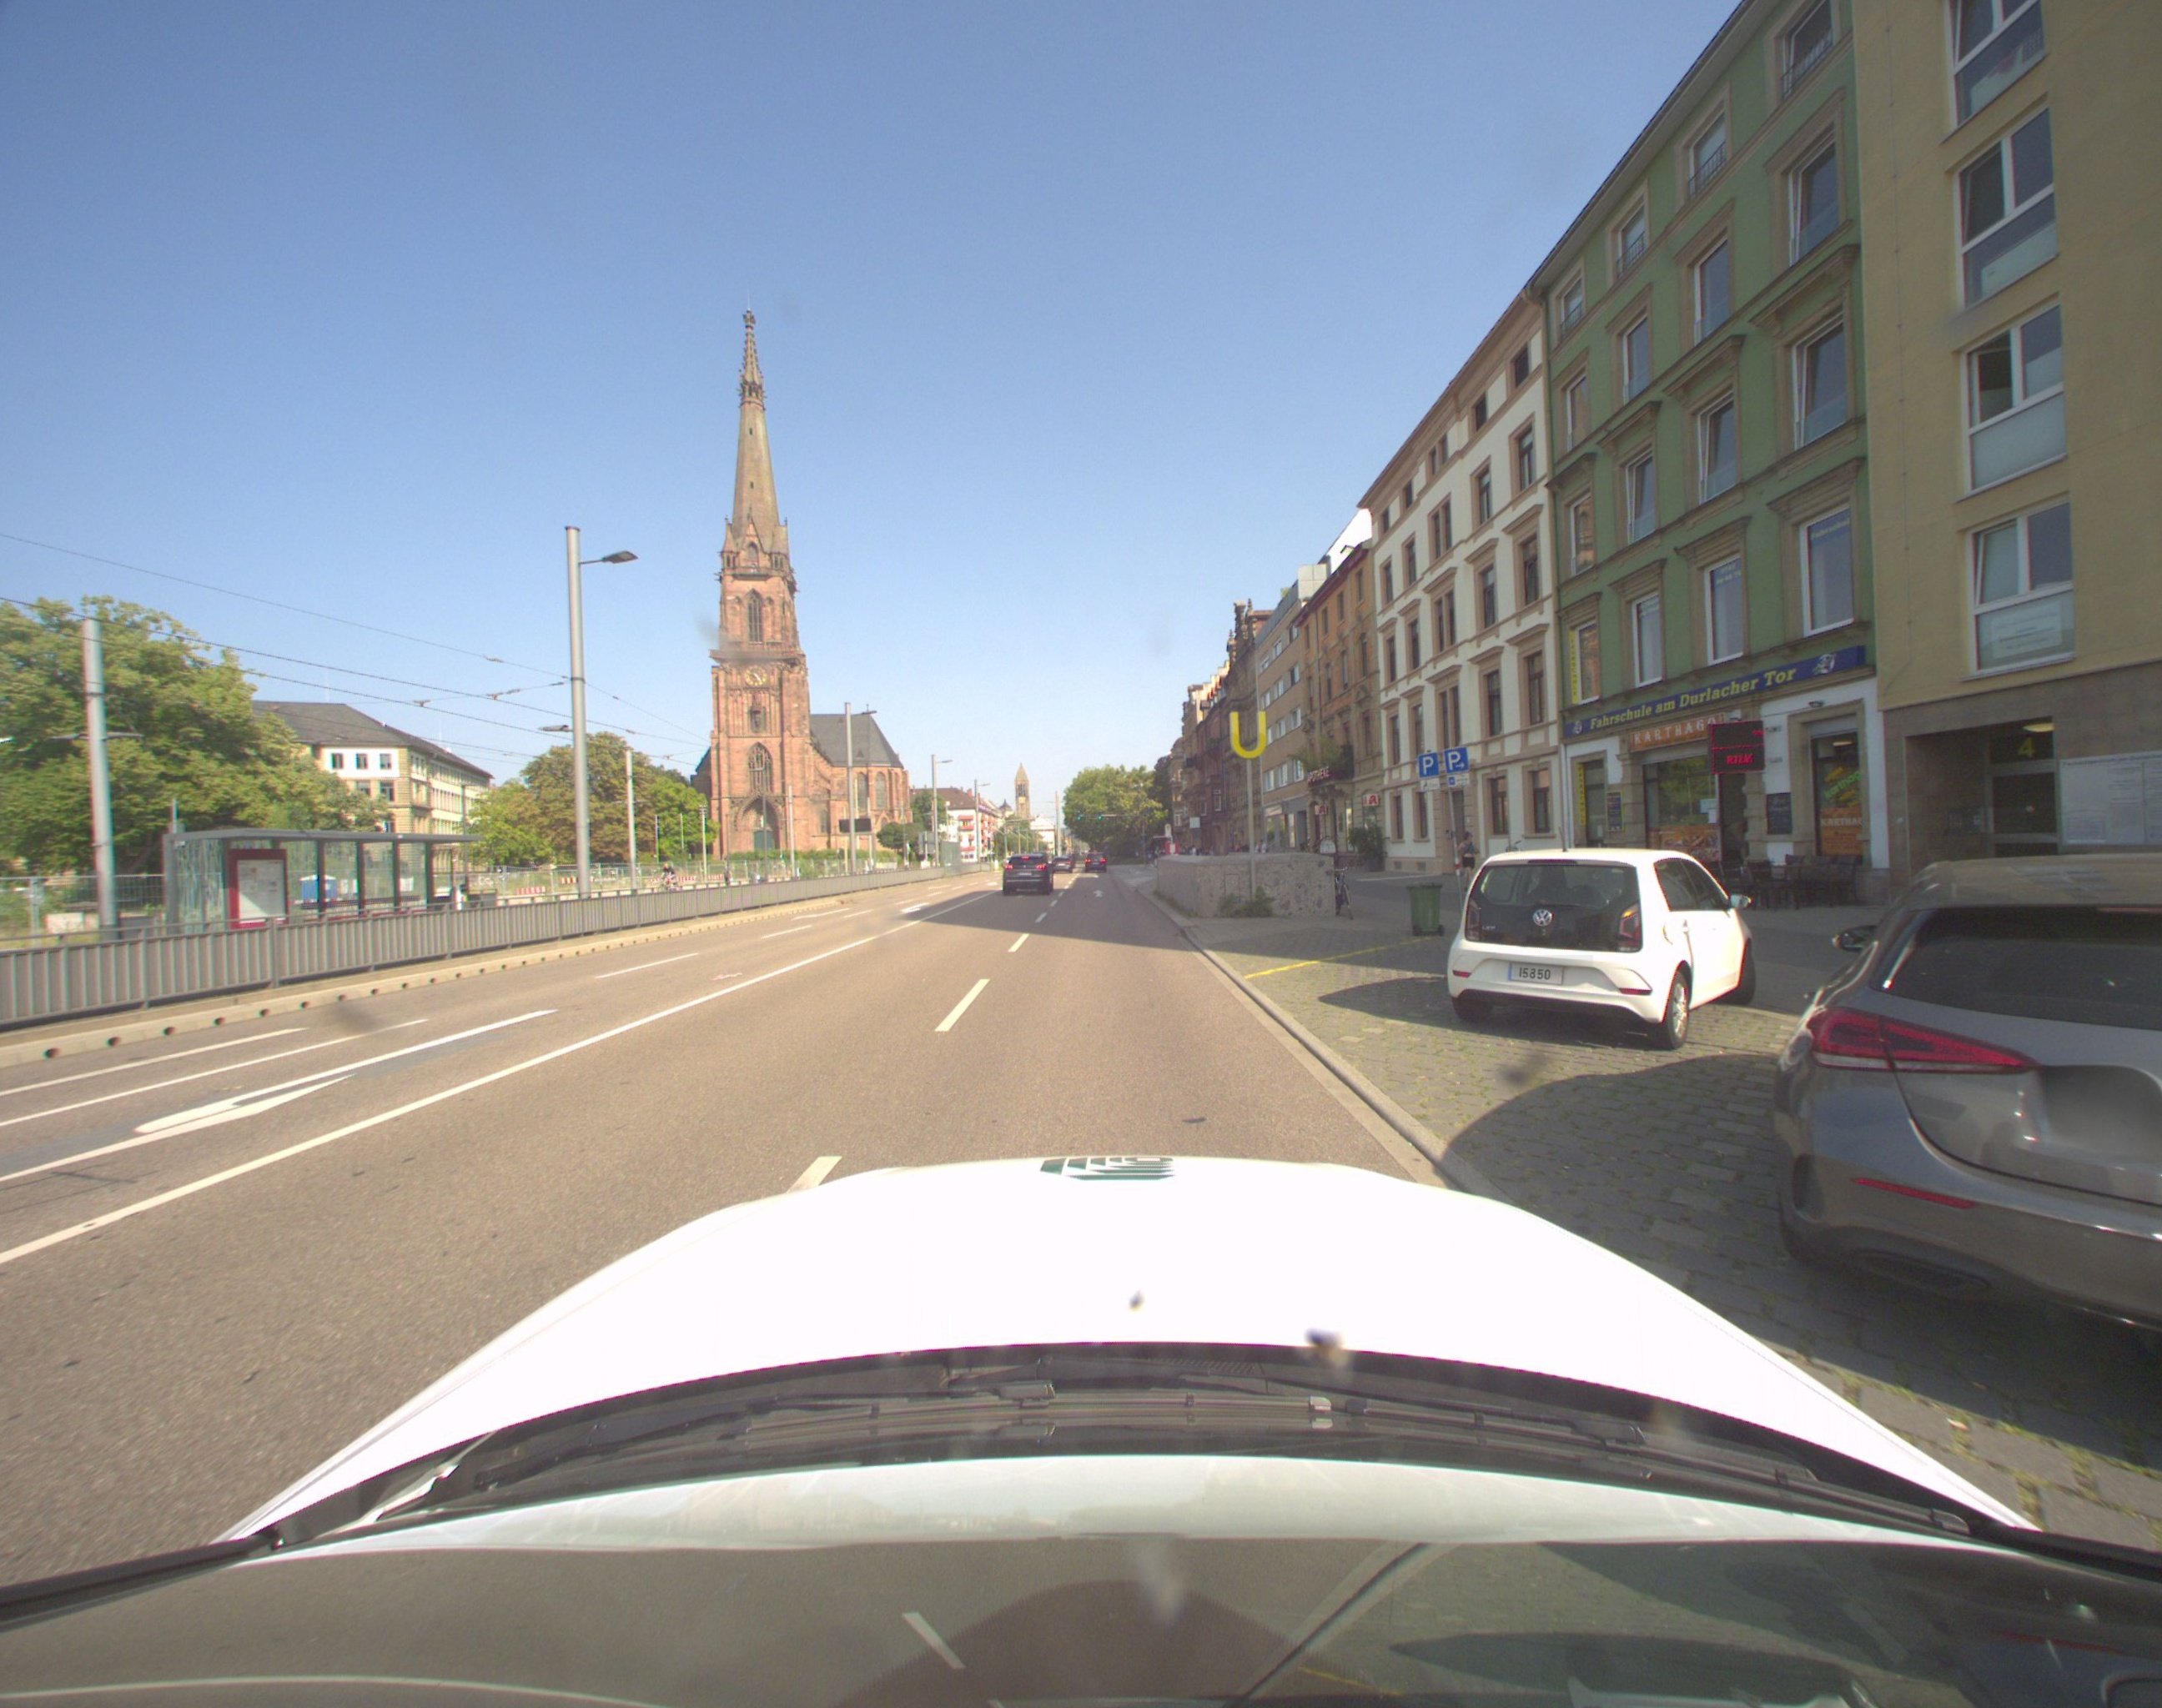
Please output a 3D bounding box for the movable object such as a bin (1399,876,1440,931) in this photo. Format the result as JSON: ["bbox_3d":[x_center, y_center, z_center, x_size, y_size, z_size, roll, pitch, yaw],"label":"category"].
[{"bbox_3d":[5.950,0.864,14.324,0.487,0.903,0.538,-2,0,3],"label":"movable object such as a bin"}]

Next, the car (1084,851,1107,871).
[{"bbox_3d":[1.244,0.586,69.703,1.825,1.621,4.358,-1,0,1],"label":"car"}]

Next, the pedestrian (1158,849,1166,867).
[{"bbox_3d":[7.468,0.400,75.250,0.527,1.612,0.702,-2,0,-2],"label":"pedestrian"}]

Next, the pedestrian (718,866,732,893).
[{"bbox_3d":[-23.284,1.670,53.244,0.515,1.700,0.664,-2,0,0],"label":"pedestrian"}]

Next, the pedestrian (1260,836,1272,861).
[{"bbox_3d":[13.422,-0.403,59.179,0.602,1.831,0.742,-2,0,-2],"label":"pedestrian"}]

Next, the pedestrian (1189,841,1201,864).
[{"bbox_3d":[8.695,-0.091,62.120,0.747,1.729,0.800,-2,0,-3],"label":"pedestrian"}]

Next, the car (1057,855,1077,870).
[{"bbox_3d":[-1.405,0.844,84.261,1.857,1.424,4.358,-1,0,1],"label":"car"}]

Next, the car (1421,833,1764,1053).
[{"bbox_3d":[4.709,0.593,7.312,3.547,1.464,1.604,-2,0,-41],"label":"car"}]

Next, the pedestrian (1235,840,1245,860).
[{"bbox_3d":[13.527,-0.331,69.217,0.602,1.654,0.586,-2,0,-3],"label":"pedestrian"}]

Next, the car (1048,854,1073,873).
[{"bbox_3d":[-1.670,0.770,67.799,1.857,1.424,4.358,-1,0,1],"label":"car"}]

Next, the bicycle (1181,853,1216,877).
[{"bbox_3d":[5.958,0.543,41.320,1.626,1.148,0.602,-3,0,2],"label":"bicycle"}]

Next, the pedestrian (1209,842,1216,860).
[{"bbox_3d":[12.201,-0.280,75.467,0.484,1.610,0.813,-2,0,2],"label":"pedestrian"}]

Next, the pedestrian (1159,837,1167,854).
[{"bbox_3d":[8.307,-0.860,82.580,0.688,1.664,0.619,-2,0,1],"label":"pedestrian"}]

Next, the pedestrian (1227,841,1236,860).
[{"bbox_3d":[13.410,-0.316,72.643,0.627,1.719,0.691,-2,0,1],"label":"pedestrian"}]

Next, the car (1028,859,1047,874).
[{"bbox_3d":[-4.752,1.349,89.371,1.735,1.526,3.873,-3,0,0],"label":"car"}]

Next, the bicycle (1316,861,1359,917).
[{"bbox_3d":[5.676,0.748,18.082,0.382,1.134,1.791,-2,0,2],"label":"bicycle"}]

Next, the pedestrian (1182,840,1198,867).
[{"bbox_3d":[7.745,-0.032,57.913,0.923,1.831,0.800,-2,0,-3],"label":"pedestrian"}]

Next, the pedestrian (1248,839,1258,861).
[{"bbox_3d":[13.788,-0.293,65.339,0.602,1.731,0.510,-2,0,-3],"label":"pedestrian"}]

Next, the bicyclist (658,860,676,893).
[{"bbox_3d":[-22.491,1.224,44.234,0.485,1.747,0.819,-2,0,1],"label":"bicyclist"}]

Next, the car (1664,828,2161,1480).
[{"bbox_3d":[4.082,0.632,3.264,4.433,1.423,1.826,-2,0,-41],"label":"car"}]

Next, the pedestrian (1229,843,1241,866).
[{"bbox_3d":[11.450,0.036,60.568,0.717,1.610,0.856,-2,0,2],"label":"pedestrian"}]

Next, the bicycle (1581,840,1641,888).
[{"bbox_3d":[13.323,0.243,20.507,0.382,1.134,1.720,-2,0,2],"label":"bicycle"}]

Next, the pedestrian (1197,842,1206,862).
[{"bbox_3d":[11.173,-0.161,75.415,0.614,1.804,1.072,-2,0,2],"label":"pedestrian"}]

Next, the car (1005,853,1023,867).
[{"bbox_3d":[-8.338,0.779,101.874,1.707,1.611,4.505,-4,0,1],"label":"car"}]

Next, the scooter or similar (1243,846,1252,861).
[{"bbox_3d":[13.129,-0.042,64.139,0.359,1.163,1.151,-2,0,-1],"label":"scooter or similar"}]

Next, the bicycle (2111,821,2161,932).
[{"bbox_3d":[12.552,0.251,8.682,0.600,1.261,1.998,-3,0,1],"label":"bicycle"}]

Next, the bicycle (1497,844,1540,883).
[{"bbox_3d":[13.170,0.267,24.558,0.382,1.134,1.720,-2,0,2],"label":"bicycle"}]

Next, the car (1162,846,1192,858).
[{"bbox_3d":[14.360,-0.336,121.783,4.171,1.563,1.998,-3,0,-4],"label":"car"}]

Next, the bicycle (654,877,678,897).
[{"bbox_3d":[-22.521,1.785,44.251,0.349,0.954,1.696,-2,0,2],"label":"bicycle"}]

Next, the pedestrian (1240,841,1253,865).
[{"bbox_3d":[12.316,-0.078,60.567,0.717,1.787,0.856,-2,0,2],"label":"pedestrian"}]

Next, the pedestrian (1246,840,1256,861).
[{"bbox_3d":[13.866,-0.271,66.389,0.602,1.691,0.586,-2,0,-3],"label":"pedestrian"}]

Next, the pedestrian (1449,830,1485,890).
[{"bbox_3d":[10.767,0.169,22.733,0.606,1.629,0.737,-2,0,1],"label":"pedestrian"}]

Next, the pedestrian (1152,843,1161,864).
[{"bbox_3d":[6.334,-0.011,68.120,0.563,1.729,0.745,-2,0,-2],"label":"pedestrian"}]

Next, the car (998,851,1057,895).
[{"bbox_3d":[-2.095,0.734,33.140,1.986,1.621,4.358,-1,0,1],"label":"car"}]

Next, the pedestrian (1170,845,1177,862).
[{"bbox_3d":[9.324,-0.058,81.929,0.480,1.702,0.702,-2,0,-2],"label":"pedestrian"}]
